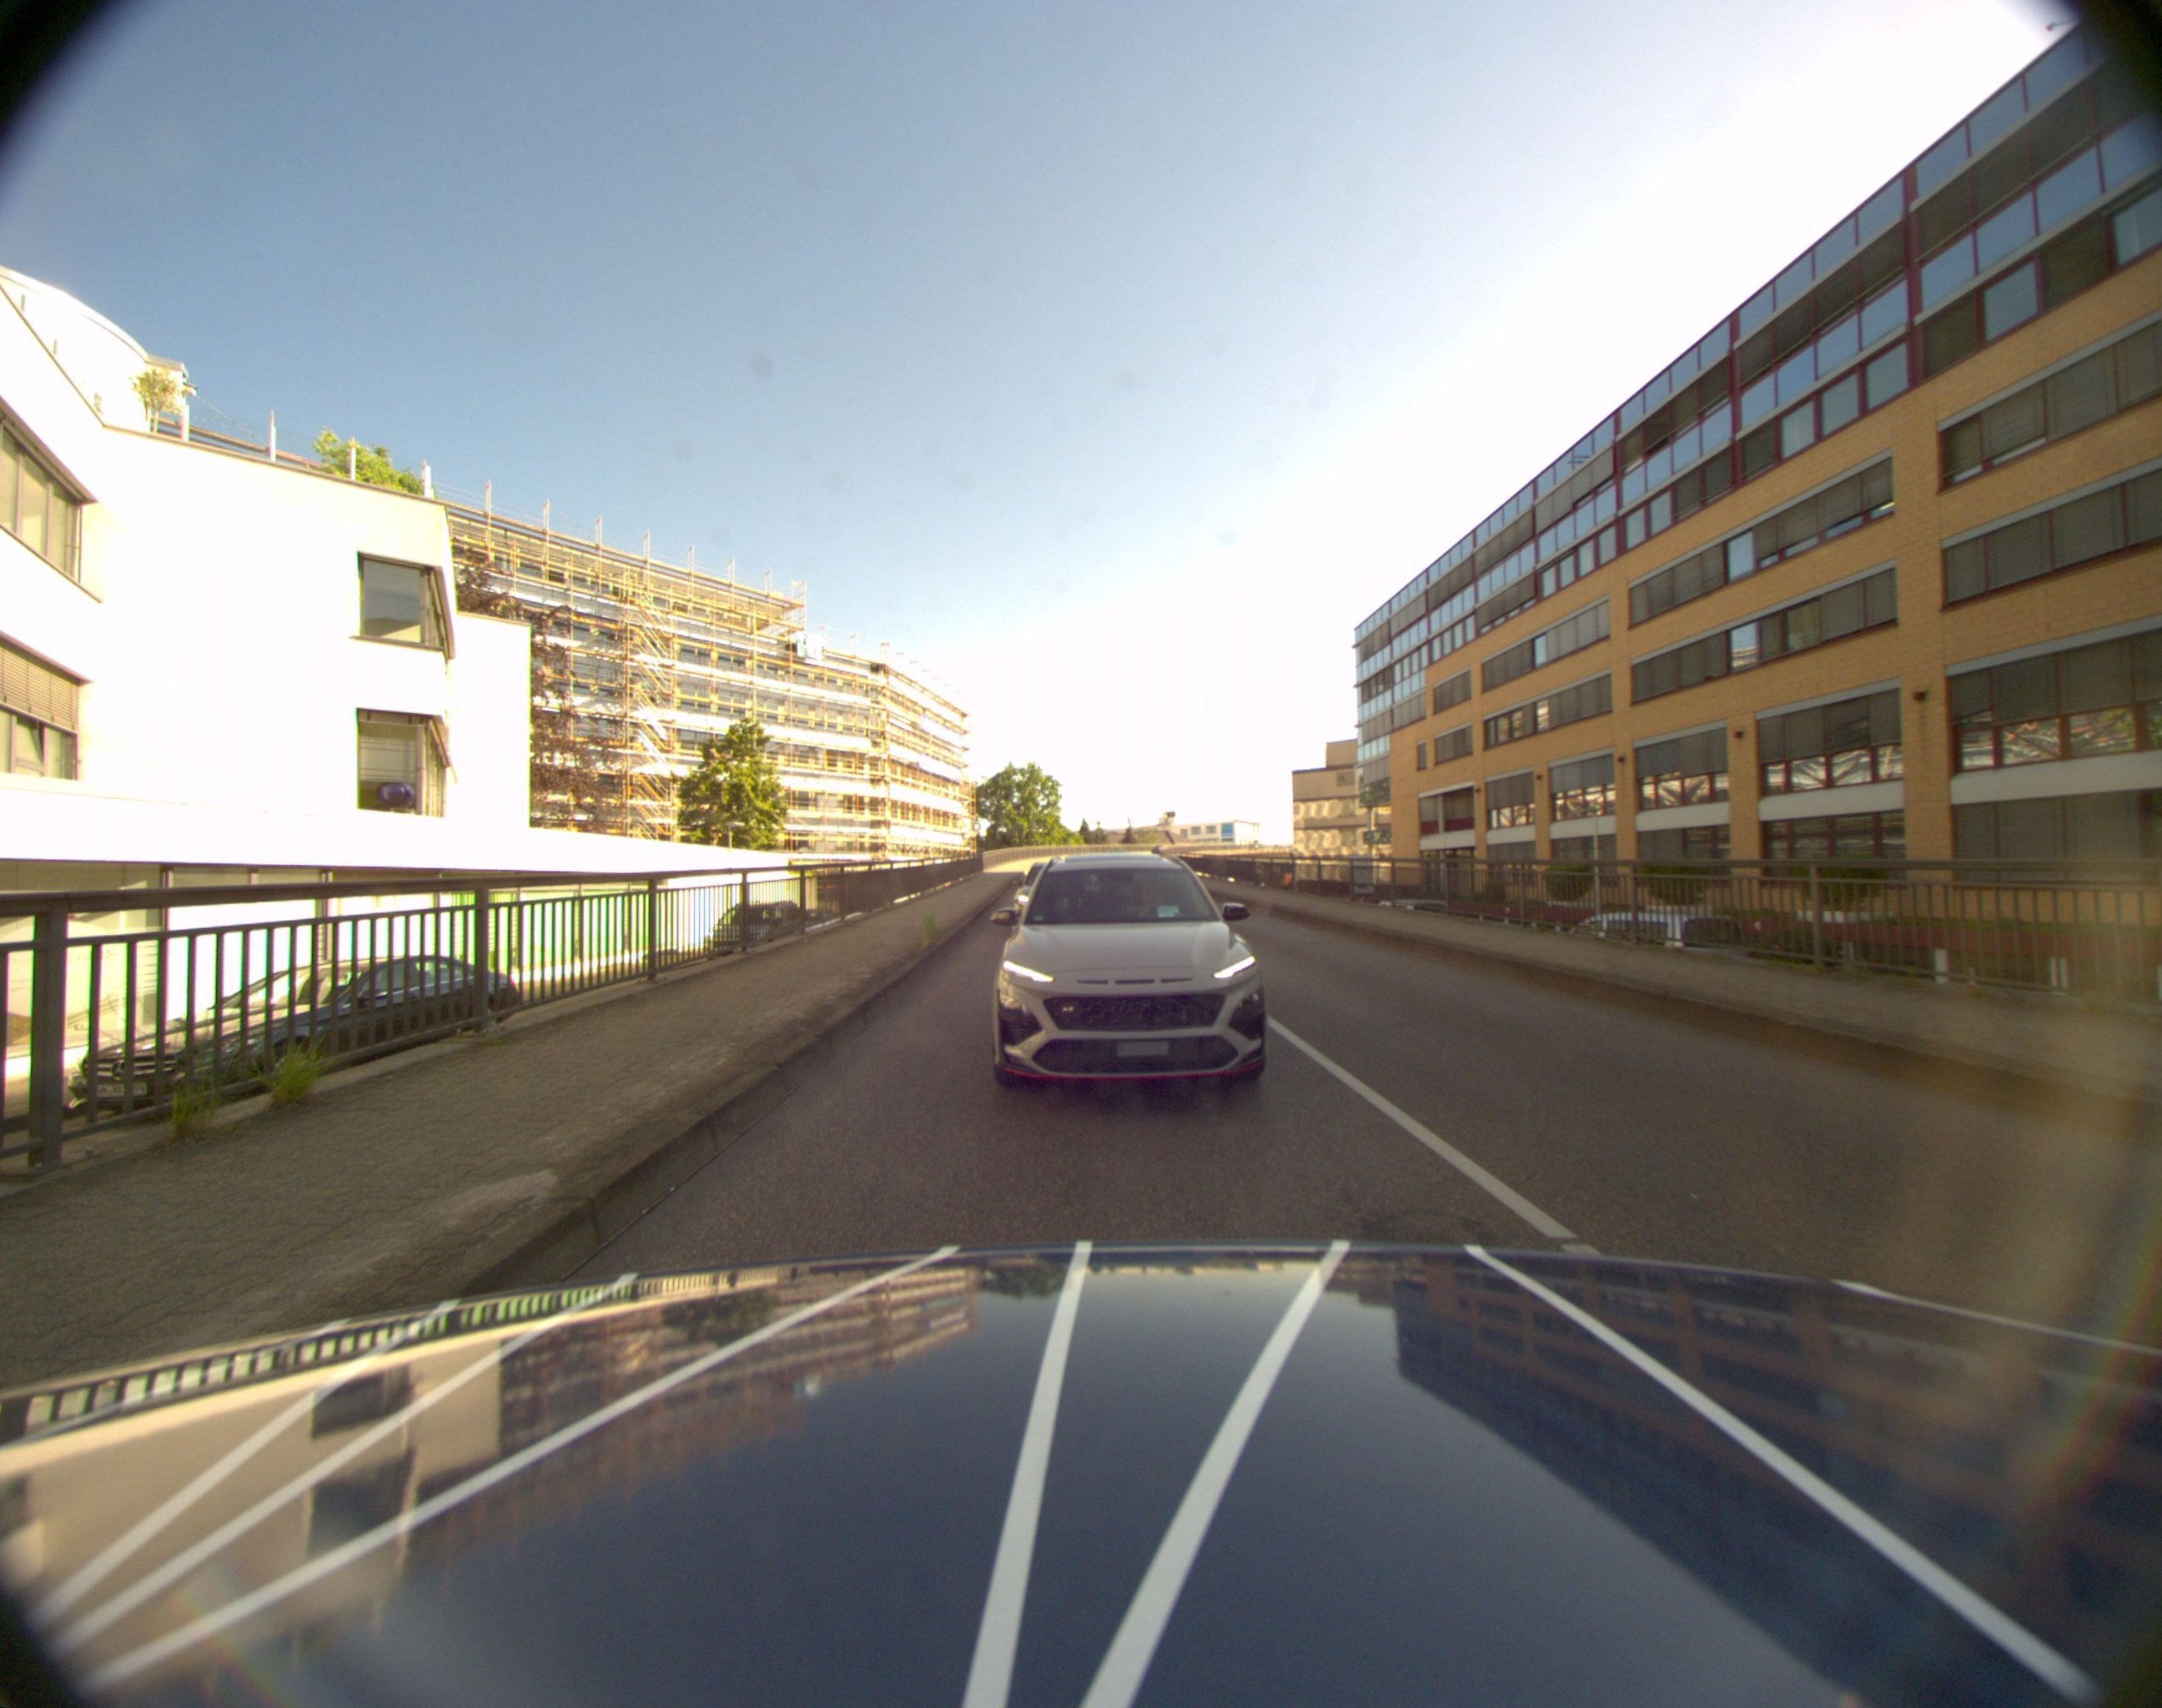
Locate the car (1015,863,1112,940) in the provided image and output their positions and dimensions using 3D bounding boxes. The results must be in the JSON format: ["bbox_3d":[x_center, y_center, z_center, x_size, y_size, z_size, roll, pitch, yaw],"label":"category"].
[{"bbox_3d":[-0.406,0.964,16.956,1.902,1.433,4.126,0,0,-2],"label":"car"}]

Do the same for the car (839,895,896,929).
[{"bbox_3d":[-10.560,2.825,37.874,1.726,1.383,4.000,-2,-1,-1],"label":"car"}]

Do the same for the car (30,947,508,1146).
[{"bbox_3d":[-9.653,2.171,9.624,1.726,1.513,4.000,-2,-1,0],"label":"car"}]

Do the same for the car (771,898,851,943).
[{"bbox_3d":[-10.350,2.516,29.416,1.726,1.383,4.000,-2,-1,-1],"label":"car"}]

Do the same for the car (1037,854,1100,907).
[{"bbox_3d":[-0.450,0.878,26.695,1.952,1.456,3.997,3,3,-1],"label":"car"}]

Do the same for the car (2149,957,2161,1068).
[{"bbox_3d":[13.248,1.797,6.945,1.580,1.261,3.809,0,-1,-2],"label":"car"}]

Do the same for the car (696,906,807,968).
[{"bbox_3d":[-10.109,2.499,23.630,1.726,1.513,4.000,-2,-1,-1],"label":"car"}]

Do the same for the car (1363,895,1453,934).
[{"bbox_3d":[12.486,2.267,29.264,1.766,1.261,3.809,0,-1,-2],"label":"car"}]

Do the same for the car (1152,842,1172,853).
[{"bbox_3d":[10.689,-0.834,99.475,1.743,1.399,4.207,0,0,18],"label":"car"}]

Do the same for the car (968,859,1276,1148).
[{"bbox_3d":[0.243,0.883,6.333,1.749,1.637,4.000,0,-1,0],"label":"car"}]

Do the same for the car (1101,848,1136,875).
[{"bbox_3d":[2.338,0.439,48.083,1.809,1.614,3.998,0,1,-2],"label":"car"}]

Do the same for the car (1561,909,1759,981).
[{"bbox_3d":[12.985,1.992,17.364,1.580,1.261,3.809,0,-1,-2],"label":"car"}]
